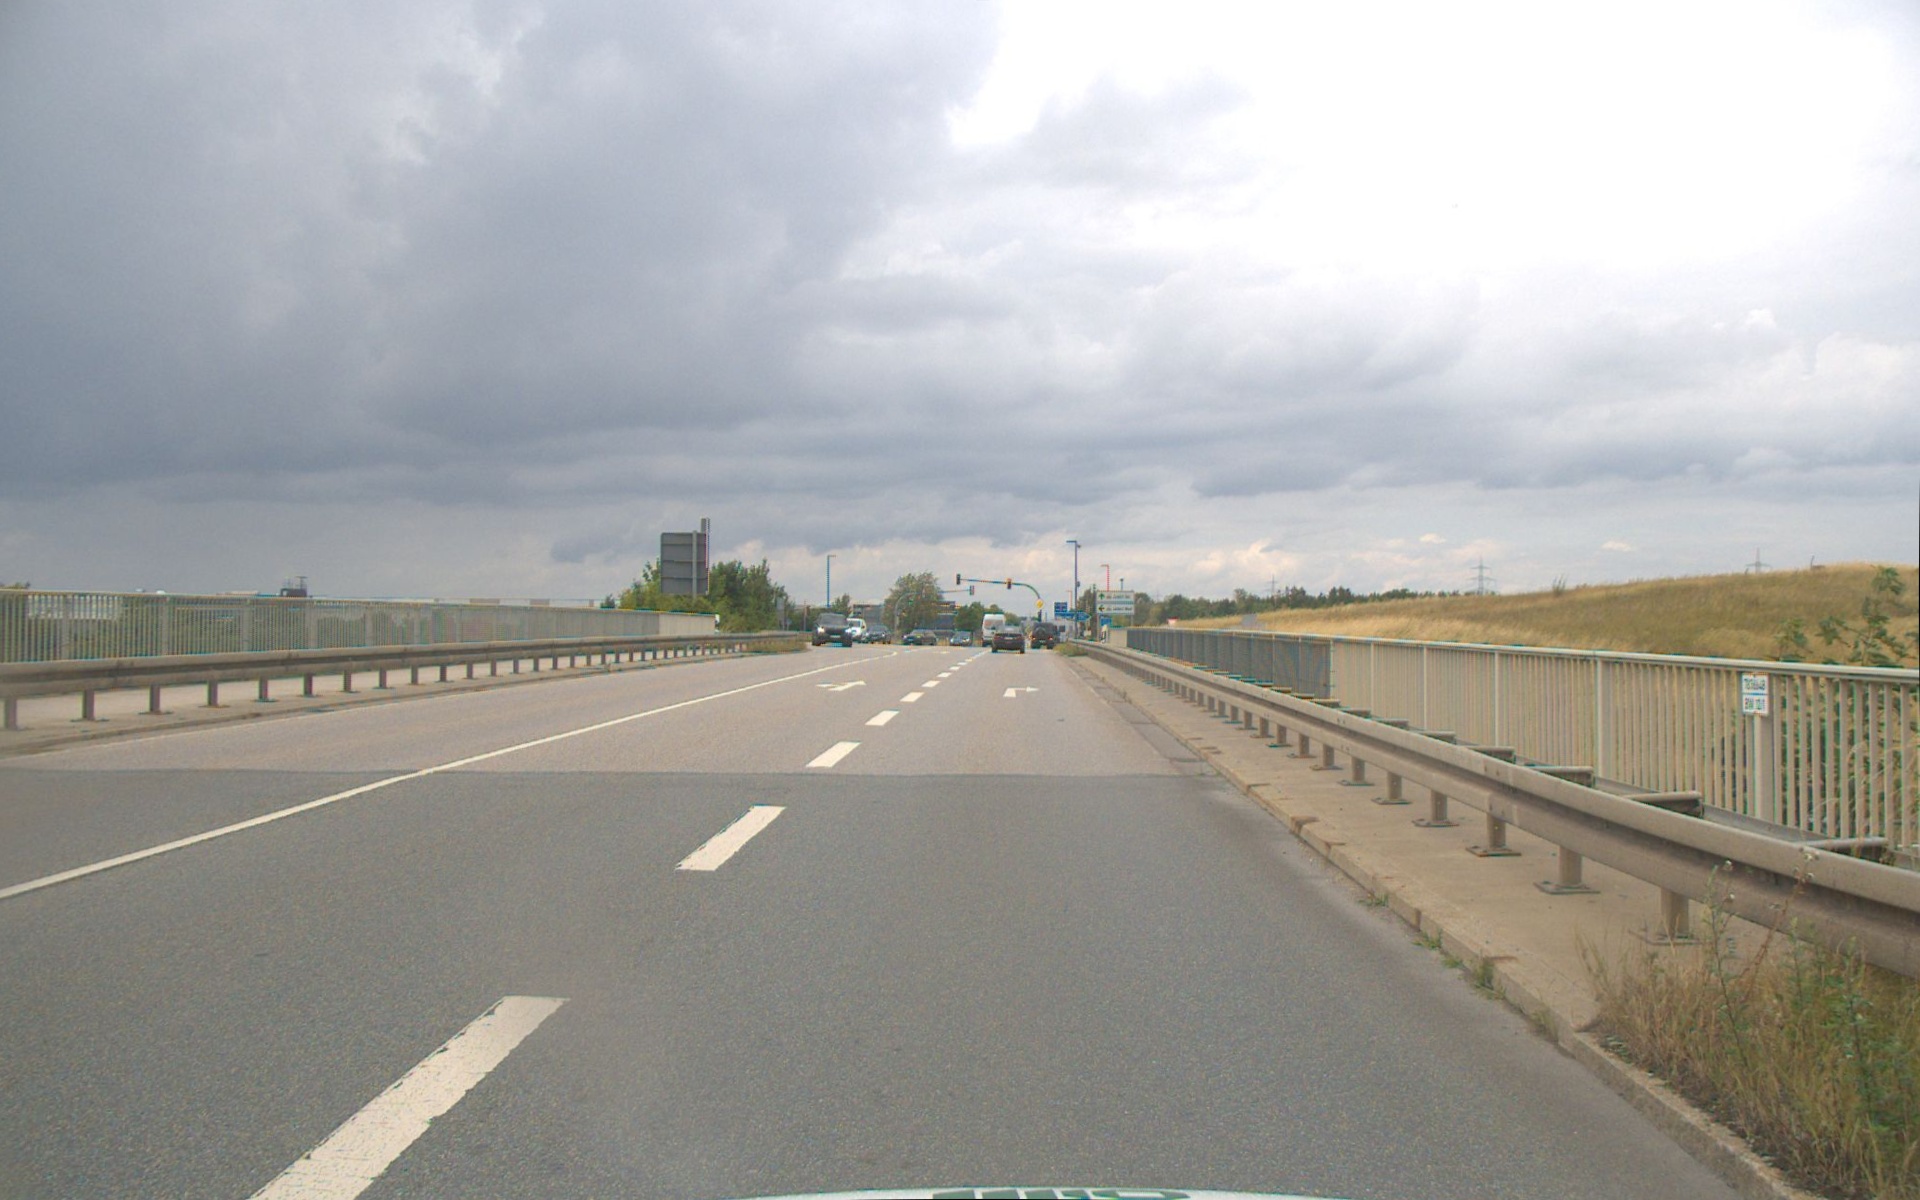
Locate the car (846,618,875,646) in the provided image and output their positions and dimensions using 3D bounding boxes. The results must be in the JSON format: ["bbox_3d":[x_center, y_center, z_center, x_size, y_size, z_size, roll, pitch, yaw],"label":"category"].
[{"bbox_3d":[-7.413,2.394,123.155,1.915,1.907,4.817,5,-2,-3],"label":"car"}]

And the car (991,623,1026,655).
[{"bbox_3d":[2.456,1.951,83.016,1.486,1.511,3.617,1,-1,6],"label":"car"}]

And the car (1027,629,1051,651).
[{"bbox_3d":[5.999,3.018,125.442,1.646,1.571,3.617,1,-1,6],"label":"car"}]

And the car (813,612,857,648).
[{"bbox_3d":[-6.686,1.647,88.843,1.953,1.762,4.760,3,-1,-1],"label":"car"}]

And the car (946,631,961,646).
[{"bbox_3d":[-0.785,4.487,193.018,1.658,1.392,3.944,1,2,0],"label":"car"}]

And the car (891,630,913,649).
[{"bbox_3d":[-5.425,3.683,154.792,1.771,1.392,4.787,1,2,0],"label":"car"}]

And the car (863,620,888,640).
[{"bbox_3d":[-7.162,2.562,140.794,1.549,1.585,4.148,2,-1,5],"label":"car"}]

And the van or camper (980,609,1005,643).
[{"bbox_3d":[2.630,2.123,133.844,1.837,2.626,4.001,2,-1,2],"label":"van or camper"}]
